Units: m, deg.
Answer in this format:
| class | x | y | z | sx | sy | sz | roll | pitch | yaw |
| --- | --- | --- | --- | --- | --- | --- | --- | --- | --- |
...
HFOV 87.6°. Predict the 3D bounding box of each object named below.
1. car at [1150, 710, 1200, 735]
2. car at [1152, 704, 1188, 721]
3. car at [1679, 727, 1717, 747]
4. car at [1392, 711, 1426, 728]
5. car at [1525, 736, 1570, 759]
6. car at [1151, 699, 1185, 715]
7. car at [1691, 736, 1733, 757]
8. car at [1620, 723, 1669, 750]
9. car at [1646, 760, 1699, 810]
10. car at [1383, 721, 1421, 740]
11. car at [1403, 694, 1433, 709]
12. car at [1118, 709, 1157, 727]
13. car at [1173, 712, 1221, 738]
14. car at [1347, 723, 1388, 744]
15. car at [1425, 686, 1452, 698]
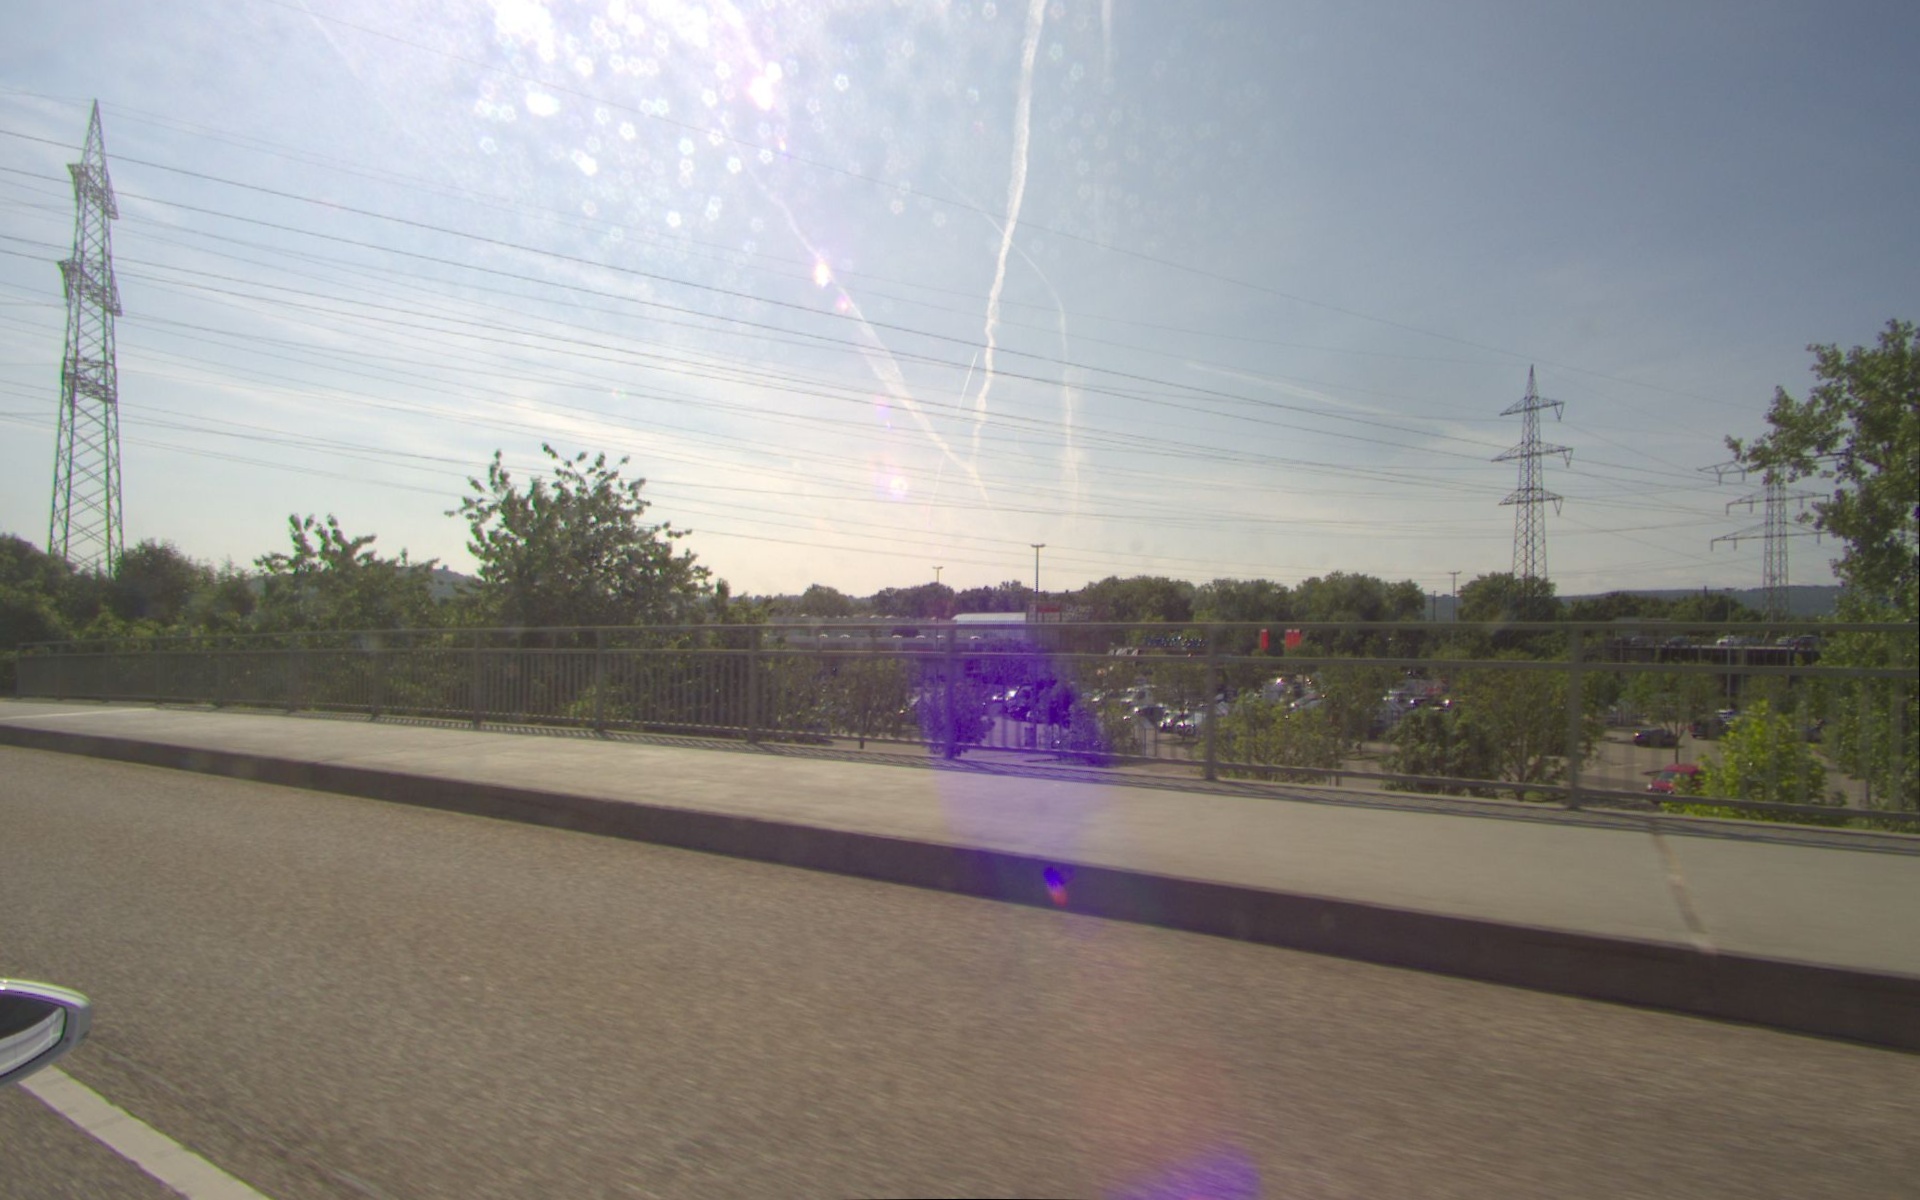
| class | x | y | z | sx | sy | sz | roll | pitch | yaw |
| --- | --- | --- | --- | --- | --- | --- | --- | --- | --- |
| car | 17.977 | 10.182 | 83.630 | 3.894 | 1.740 | 1.886 | 1 | -1 | -32 |
| car | 19.689 | 10.531 | 94.026 | 3.111 | 1.378 | 1.387 | 1 | 0 | -27 |
| car | 63.939 | 11.858 | 86.730 | 3.111 | 1.378 | 1.387 | 1 | 0 | -27 |
| car | 41.825 | 11.118 | 93.276 | 3.116 | 1.378 | 1.385 | 2 | 0 | -32 |
| car | 42.974 | 10.746 | 73.192 | 3.111 | 1.378 | 1.387 | 1 | 0 | -27 |
| car | 20.801 | 10.668 | 100.048 | 3.111 | 1.378 | 1.387 | 1 | 0 | -27 |
| car | 58.998 | 11.486 | 78.561 | 3.111 | 1.378 | 1.387 | 1 | 0 | -27 |
| car | 55.656 | 11.077 | 81.381 | 3.949 | 1.747 | 1.987 | 1 | -1 | -35 |
| car | 37.246 | 9.625 | 52.315 | 1.976 | 1.914 | 3.970 | 0 | -1 | 40 |
| car | 38.108 | 11.207 | 86.361 | 3.111 | 1.378 | 1.387 | 1 | 0 | -27 |
| car | 50.564 | 11.197 | 110.489 | 3.111 | 1.378 | 1.387 | 1 | 0 | -27 |
| car | 15.598 | 10.362 | 88.003 | 3.111 | 1.378 | 1.387 | 1 | 0 | -27 |
| car | 19.309 | 10.150 | 81.498 | 3.904 | 1.740 | 1.881 | 1 | -1 | -39 |
| car | 32.791 | 10.742 | 80.514 | 3.111 | 1.378 | 1.387 | 1 | 0 | -27 |
| car | 60.549 | 11.640 | 126.714 | 3.111 | 1.378 | 1.387 | 1 | 0 | -27 |
